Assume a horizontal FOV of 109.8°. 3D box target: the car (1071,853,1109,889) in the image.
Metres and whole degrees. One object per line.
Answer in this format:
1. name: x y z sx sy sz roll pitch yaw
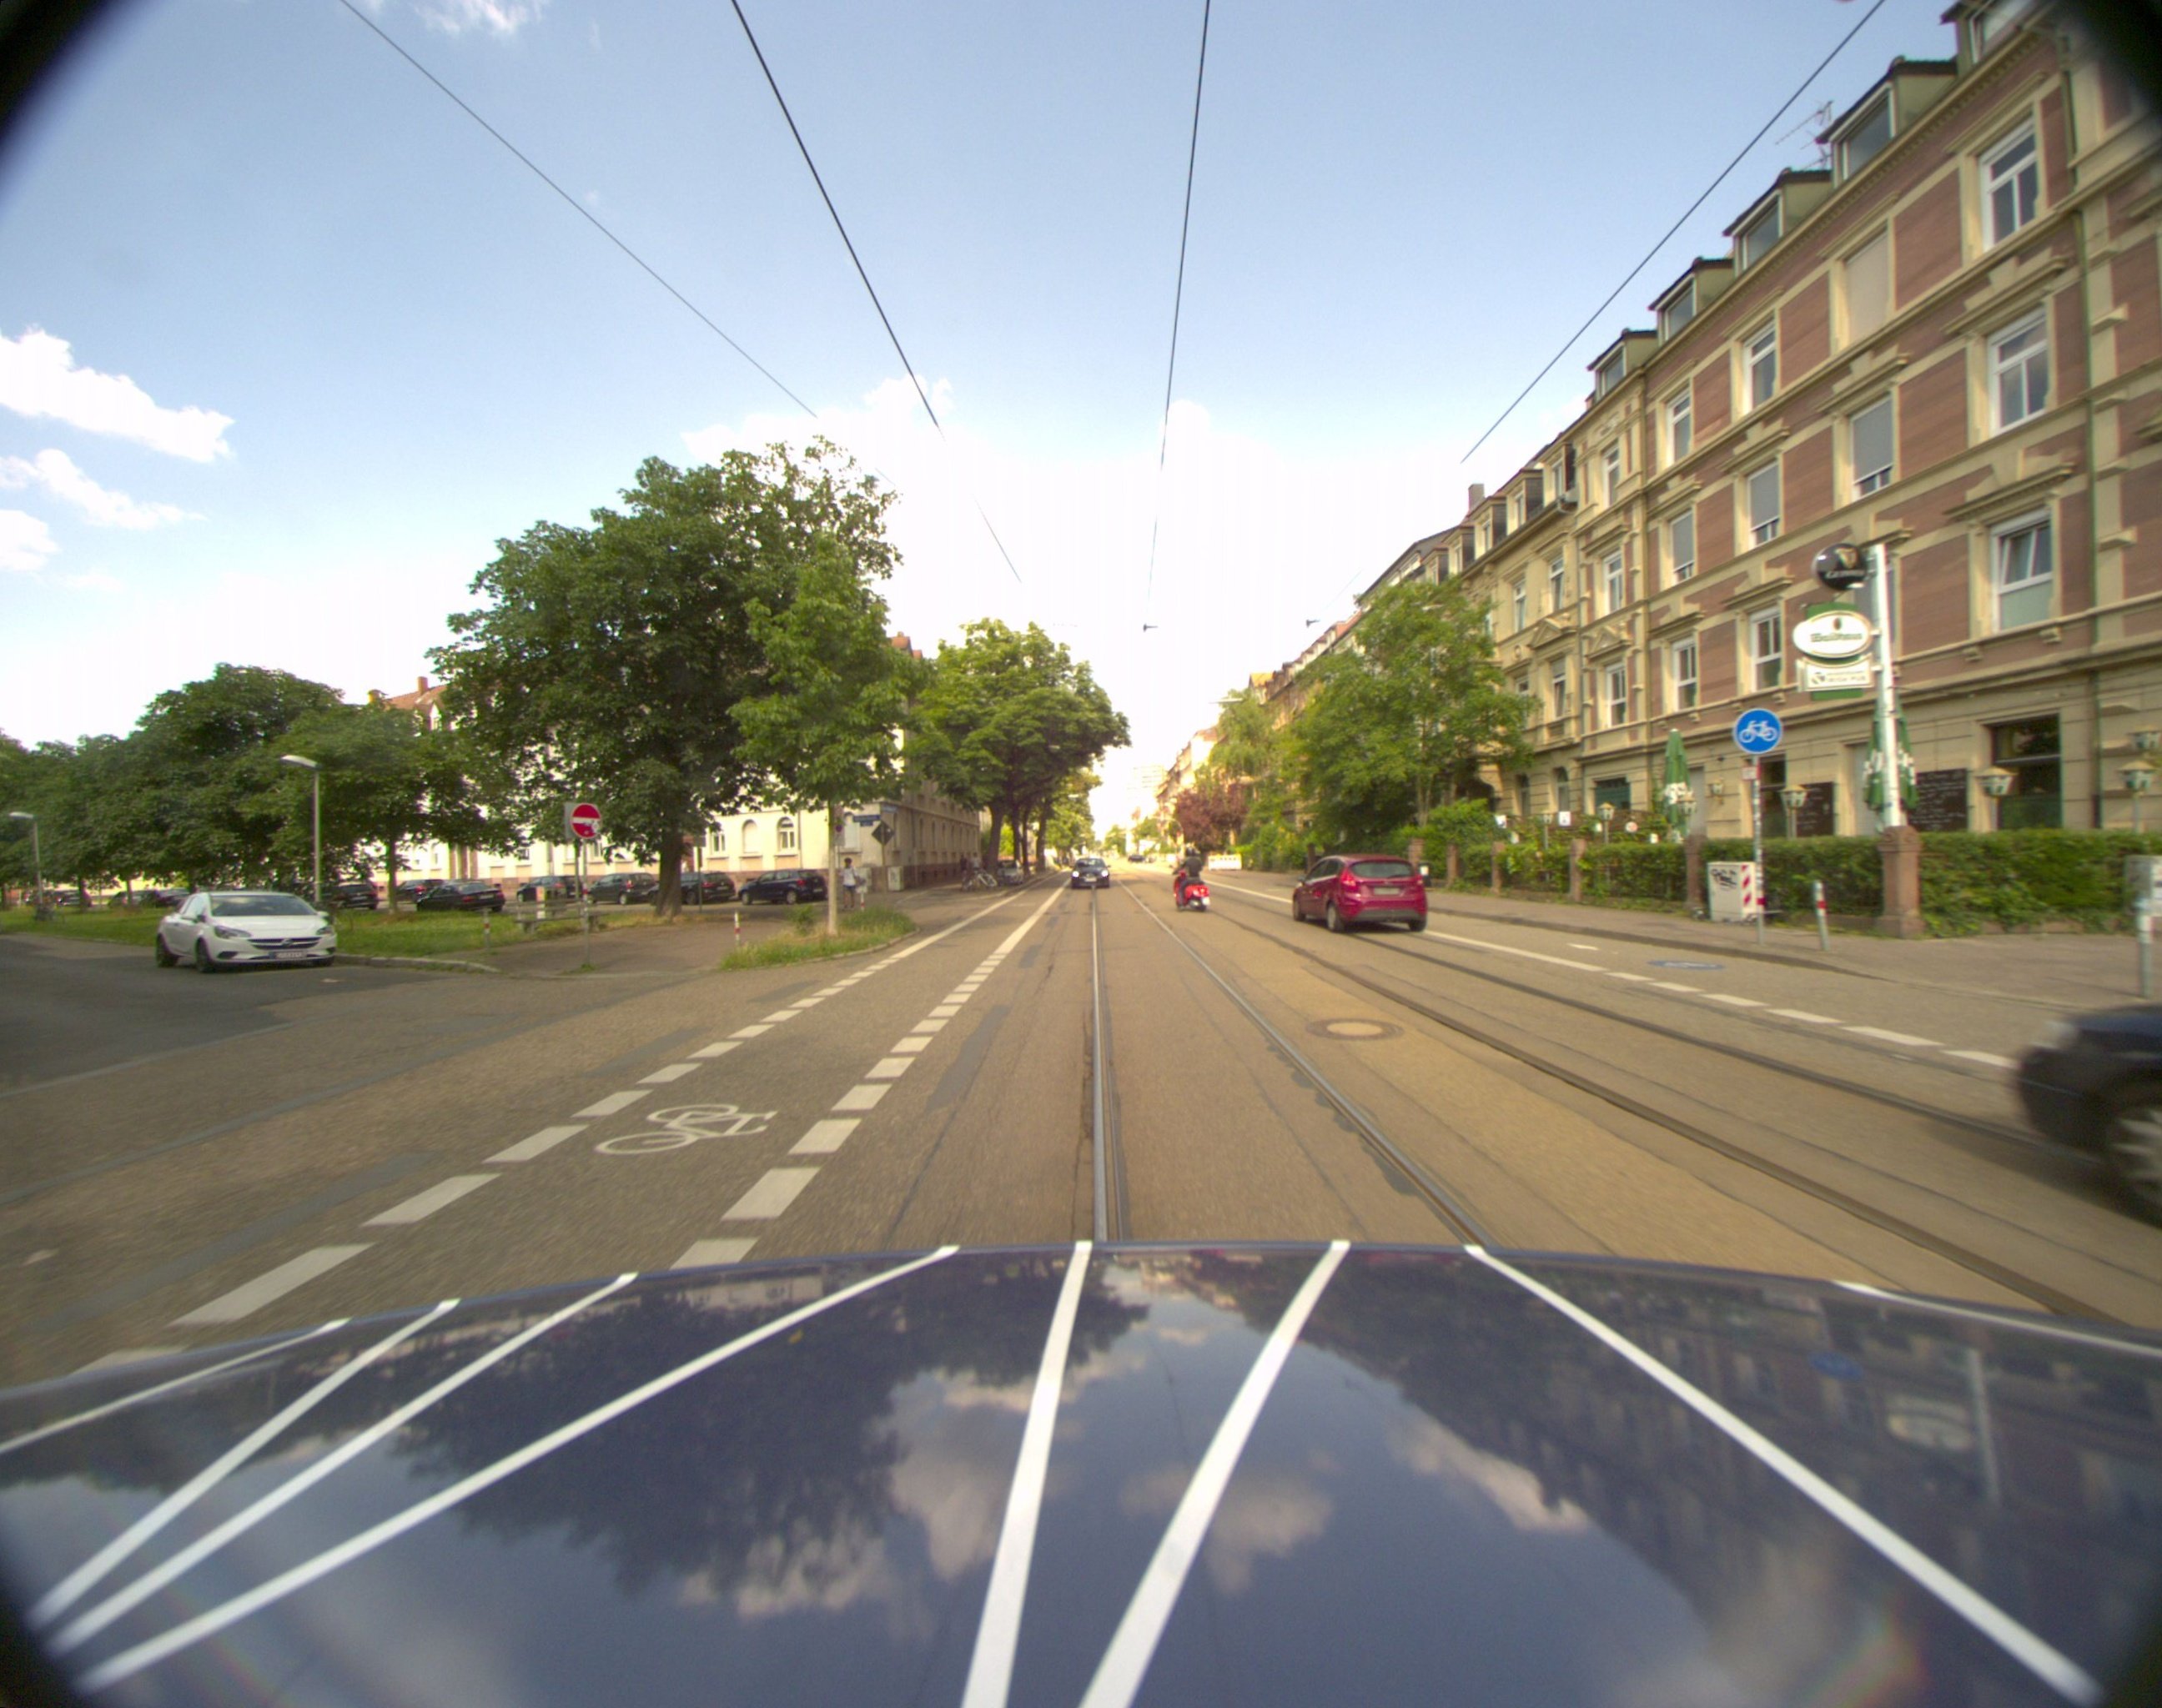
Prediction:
1. car: 0.450 0.775 36.513 1.693 1.568 4.156 -2 0 1

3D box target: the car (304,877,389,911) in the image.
1. car: -36.488 1.991 37.740 3.990 1.488 1.650 -2 1 26

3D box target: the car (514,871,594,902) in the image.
1. car: -27.270 1.675 39.284 3.921 1.503 1.734 -2 1 28

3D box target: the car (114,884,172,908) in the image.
1. car: -65.742 2.938 53.240 3.990 1.488 1.650 -2 1 27

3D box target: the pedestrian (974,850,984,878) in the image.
1. pedestrian: -6.734 0.654 50.113 0.506 1.842 0.687 -2 1 1

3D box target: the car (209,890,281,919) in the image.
1. car: -48.302 2.927 43.892 3.990 1.488 1.650 -2 1 26

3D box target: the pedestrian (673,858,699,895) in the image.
1. pedestrian: -20.226 1.151 38.926 0.729 1.823 0.829 -1 1 31

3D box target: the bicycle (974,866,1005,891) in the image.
1. bicycle: -4.100 1.111 34.035 1.271 1.060 0.478 -2 1 0

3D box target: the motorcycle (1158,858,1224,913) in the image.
1. motorcycle: 2.847 0.781 19.929 0.742 1.352 2.084 -2 1 -22

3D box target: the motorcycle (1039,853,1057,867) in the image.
1. motorcycle: -3.600 0.671 83.610 0.812 1.485 2.065 -2 1 -43

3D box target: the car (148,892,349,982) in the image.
1. car: -16.029 1.510 14.620 3.610 1.489 1.734 -2 -2 28

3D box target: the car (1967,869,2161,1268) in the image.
1. car: 4.678 0.778 1.256 1.632 1.399 4.129 -2 0 1

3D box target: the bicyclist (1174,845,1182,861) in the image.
1. bicyclist: 8.869 -0.109 69.369 0.566 1.417 0.942 -2 1 3

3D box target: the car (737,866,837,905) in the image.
1. car: -12.059 1.292 31.192 3.566 1.443 1.734 -2 1 24

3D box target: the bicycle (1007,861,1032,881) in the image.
1. bicycle: -3.878 1.076 47.879 1.490 1.214 0.518 -2 2 8

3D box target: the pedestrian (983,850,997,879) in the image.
1. pedestrian: -5.975 0.672 50.105 0.755 1.878 0.886 -2 1 1

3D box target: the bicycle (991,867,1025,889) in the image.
1. bicycle: -3.747 1.219 39.084 1.650 1.064 0.348 -2 1 5

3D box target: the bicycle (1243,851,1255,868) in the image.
1. bicycle: 11.865 0.374 53.671 0.413 1.131 1.819 -2 1 1

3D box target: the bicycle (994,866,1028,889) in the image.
1. bicycle: -3.578 1.195 38.703 1.650 1.064 0.348 -2 1 5

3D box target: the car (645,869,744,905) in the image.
1. car: -17.185 1.467 33.770 4.245 1.443 1.734 -2 1 28

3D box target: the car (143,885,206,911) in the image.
1. car: -58.854 2.853 49.325 3.990 1.488 1.650 -2 1 27

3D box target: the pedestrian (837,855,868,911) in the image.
1. pedestrian: -7.643 0.944 25.430 0.619 1.823 1.030 -2 1 2

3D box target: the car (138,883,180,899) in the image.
1. car: -86.567 3.459 71.353 3.921 1.344 1.734 -2 1 28

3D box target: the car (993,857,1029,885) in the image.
1. car: -3.932 0.944 43.245 1.589 1.436 3.898 -2 0 1

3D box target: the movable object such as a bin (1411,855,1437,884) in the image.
1. movable object such as a bin: 11.642 0.520 25.799 0.580 0.919 0.641 -2 1 1

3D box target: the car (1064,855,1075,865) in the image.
1. car: -1.875 0.949 127.316 1.693 1.537 3.617 -2 0 0

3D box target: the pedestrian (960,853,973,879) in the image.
1. pedestrian: -7.359 0.783 48.930 0.582 1.630 0.976 -2 1 1

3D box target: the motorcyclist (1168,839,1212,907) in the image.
1. motorcyclist: 2.844 0.489 19.908 0.742 1.704 0.919 -2 1 -22

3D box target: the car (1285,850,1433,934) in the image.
1. car: 5.336 0.658 15.122 1.598 1.432 3.936 0 1 2

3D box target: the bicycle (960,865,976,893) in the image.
1. bicycle: -5.043 1.092 33.855 0.586 1.151 1.835 -2 1 -6

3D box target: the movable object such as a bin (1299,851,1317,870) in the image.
1. movable object such as a bin: 12.967 0.364 43.371 0.774 1.101 0.733 -2 1 1

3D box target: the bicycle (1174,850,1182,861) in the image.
1. bicycle: 8.868 0.128 69.265 0.570 0.984 1.918 -2 0 3

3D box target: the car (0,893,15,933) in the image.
1. car: -41.882 2.229 28.480 3.610 1.489 1.734 -2 -2 28

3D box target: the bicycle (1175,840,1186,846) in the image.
1. bicycle: 16.759 -1.900 127.949 1.753 0.936 0.483 0 1 0

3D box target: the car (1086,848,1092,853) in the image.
1. car: 2.130 -0.924 208.522 1.693 1.380 4.000 -2 0 0

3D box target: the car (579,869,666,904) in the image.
1. car: -22.055 1.557 36.547 3.921 1.503 1.734 -2 1 28

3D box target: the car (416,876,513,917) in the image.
1. car: -26.561 1.813 32.731 3.921 1.503 1.733 -2 4 28

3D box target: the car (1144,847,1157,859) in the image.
1. car: 10.681 -0.138 117.129 1.715 1.718 3.736 -3 1 1

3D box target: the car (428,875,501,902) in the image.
1. car: -34.921 1.951 43.017 3.921 1.344 1.734 -2 1 28

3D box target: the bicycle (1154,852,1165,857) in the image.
1. bicycle: 13.245 0.058 127.530 1.750 0.936 0.484 0 1 25

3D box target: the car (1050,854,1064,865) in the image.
1. car: -3.070 0.699 98.769 1.693 1.380 4.000 -2 0 0
